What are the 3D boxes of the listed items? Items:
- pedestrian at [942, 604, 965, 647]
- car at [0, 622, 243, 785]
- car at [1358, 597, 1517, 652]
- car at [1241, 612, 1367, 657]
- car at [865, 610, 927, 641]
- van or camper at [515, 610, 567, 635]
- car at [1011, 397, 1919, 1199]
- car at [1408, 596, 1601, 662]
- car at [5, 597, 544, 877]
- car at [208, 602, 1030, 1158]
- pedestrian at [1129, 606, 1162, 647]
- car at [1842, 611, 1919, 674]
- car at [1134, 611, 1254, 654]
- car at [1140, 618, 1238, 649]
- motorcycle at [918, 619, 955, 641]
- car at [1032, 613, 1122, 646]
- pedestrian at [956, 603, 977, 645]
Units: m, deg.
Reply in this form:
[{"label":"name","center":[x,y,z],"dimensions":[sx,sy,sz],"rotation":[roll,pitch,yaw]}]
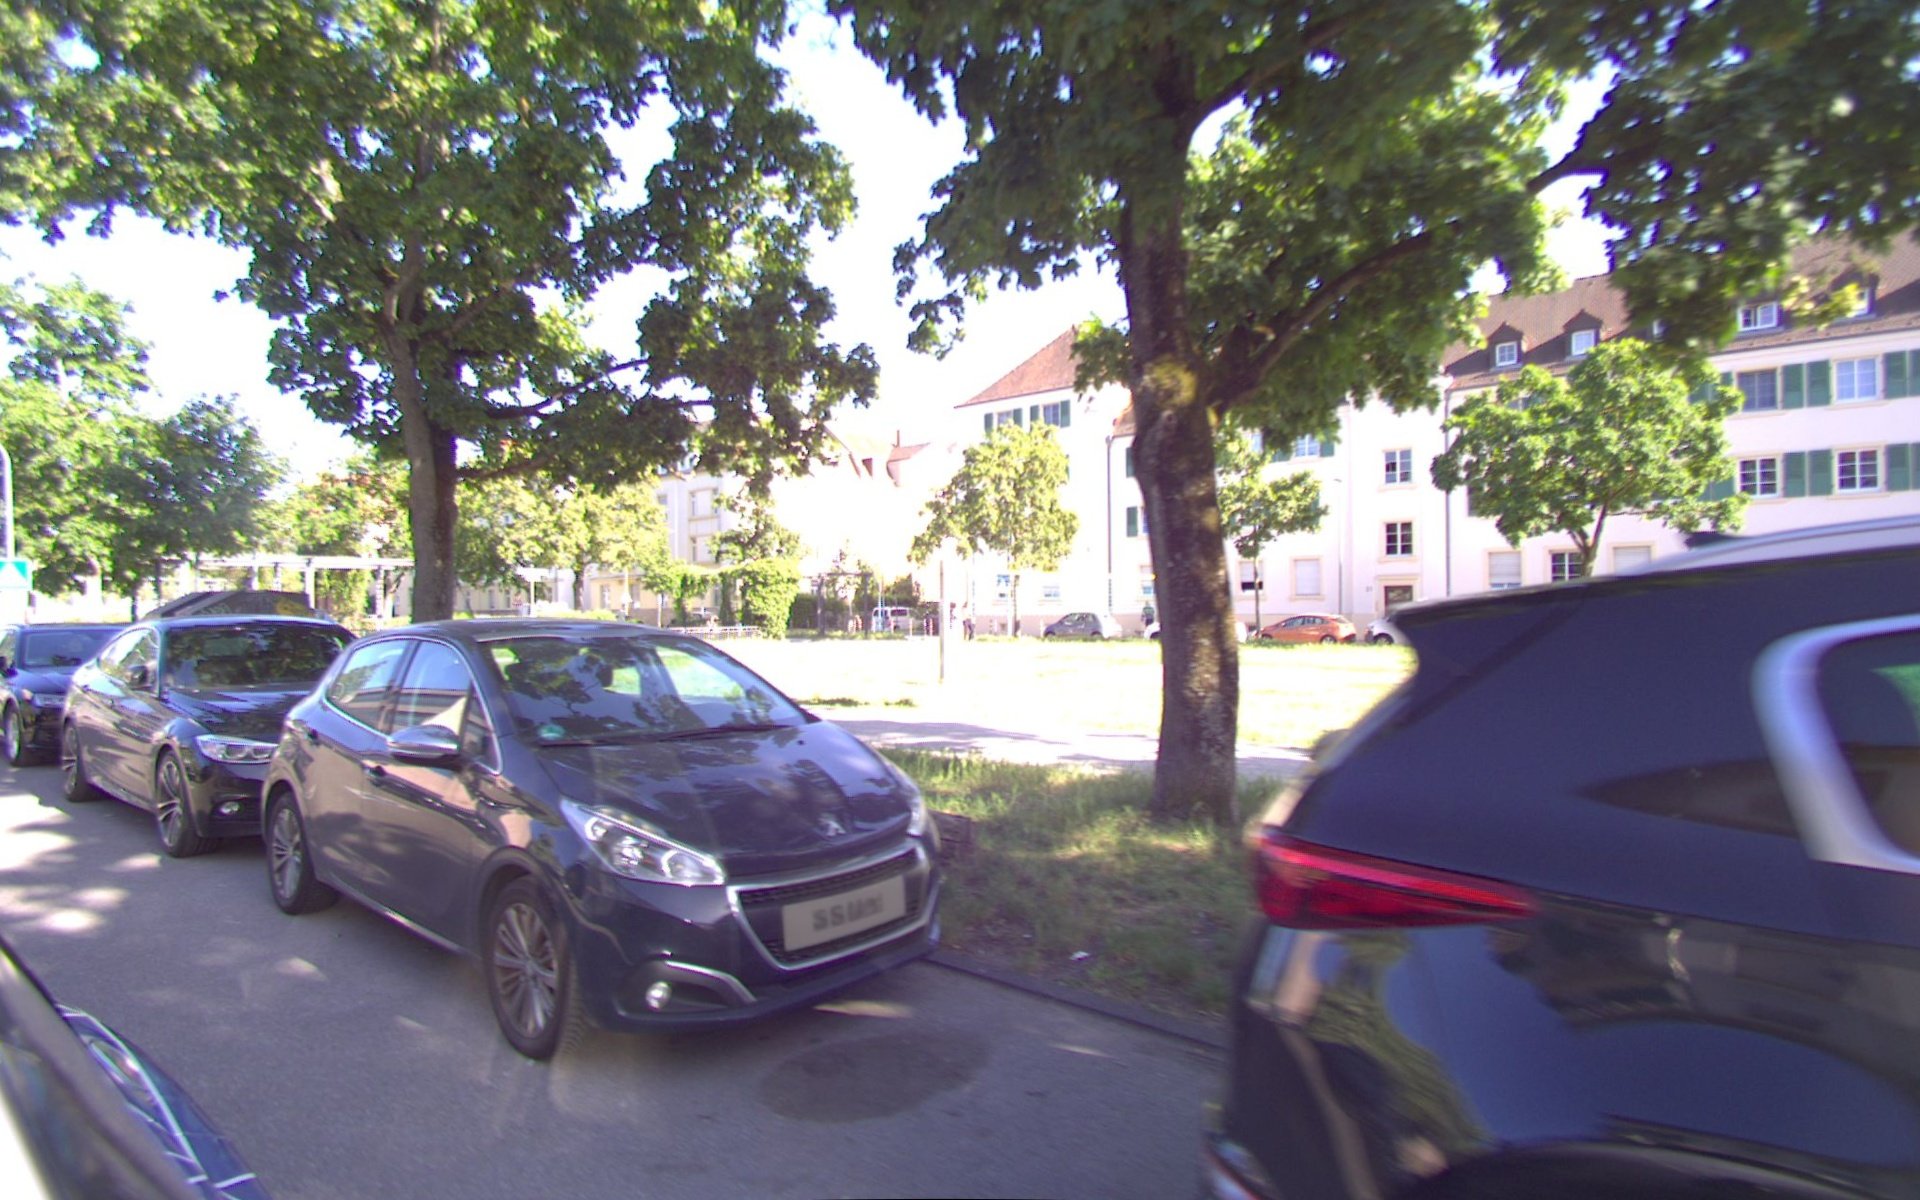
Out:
[{"label":"pedestrian","center":[-0.258,1.035,40.930],"dimensions":[0.750,1.698,0.537],"rotation":[-1,-1,42]},{"label":"car","center":[-10.039,0.986,11.456],"dimensions":[4.961,1.463,1.818],"rotation":[-1,-1,38]},{"label":"car","center":[18.506,0.955,39.345],"dimensions":[5.250,1.999,2.199],"rotation":[-1,-1,38]},{"label":"car","center":[14.478,1.425,42.668],"dimensions":[4.638,1.777,1.974],"rotation":[-1,-1,38]},{"label":"car","center":[-4.255,1.683,67.736],"dimensions":[2.042,1.970,3.763],"rotation":[-1,-1,42]},{"label":"van or camper","center":[-34.777,1.866,83.999],"dimensions":[4.371,2.029,2.244],"rotation":[-1,-1,41]},{"label":"car","center":[2.511,0.643,0.747],"dimensions":[4.755,1.638,2.004],"rotation":[-1,-2,41]},{"label":"car","center":[17.681,0.917,33.020],"dimensions":[5.250,1.999,2.199],"rotation":[-1,-1,38]},{"label":"car","center":[-5.564,0.817,7.916],"dimensions":[5.150,1.528,1.975],"rotation":[-1,-2,38]},{"label":"car","center":[-1.757,0.740,4.578],"dimensions":[3.802,1.429,1.860],"rotation":[0,-1,41]},{"label":"pedestrian","center":[9.223,1.302,50.263],"dimensions":[1.161,1.978,1.328],"rotation":[-1,-1,34]},{"label":"car","center":[29.771,1.245,30.134],"dimensions":[5.256,1.834,2.424],"rotation":[-1,-1,42]},{"label":"car","center":[9.187,1.276,39.899],"dimensions":[4.231,1.595,1.771],"rotation":[-1,-1,39]},{"label":"car","center":[10.398,1.503,46.046],"dimensions":[3.996,1.366,1.751],"rotation":[-1,-1,40]},{"label":"motorcycle","center":[-1.407,1.775,59.850],"dimensions":[2.142,1.315,0.808],"rotation":[-1,-1,39]},{"label":"car","center":[4.982,1.249,43.199],"dimensions":[3.511,1.343,1.634],"rotation":[-1,-1,39]},{"label":"pedestrian","center":[0.281,0.963,41.406],"dimensions":[0.674,1.698,0.537],"rotation":[-2,-1,45]}]
